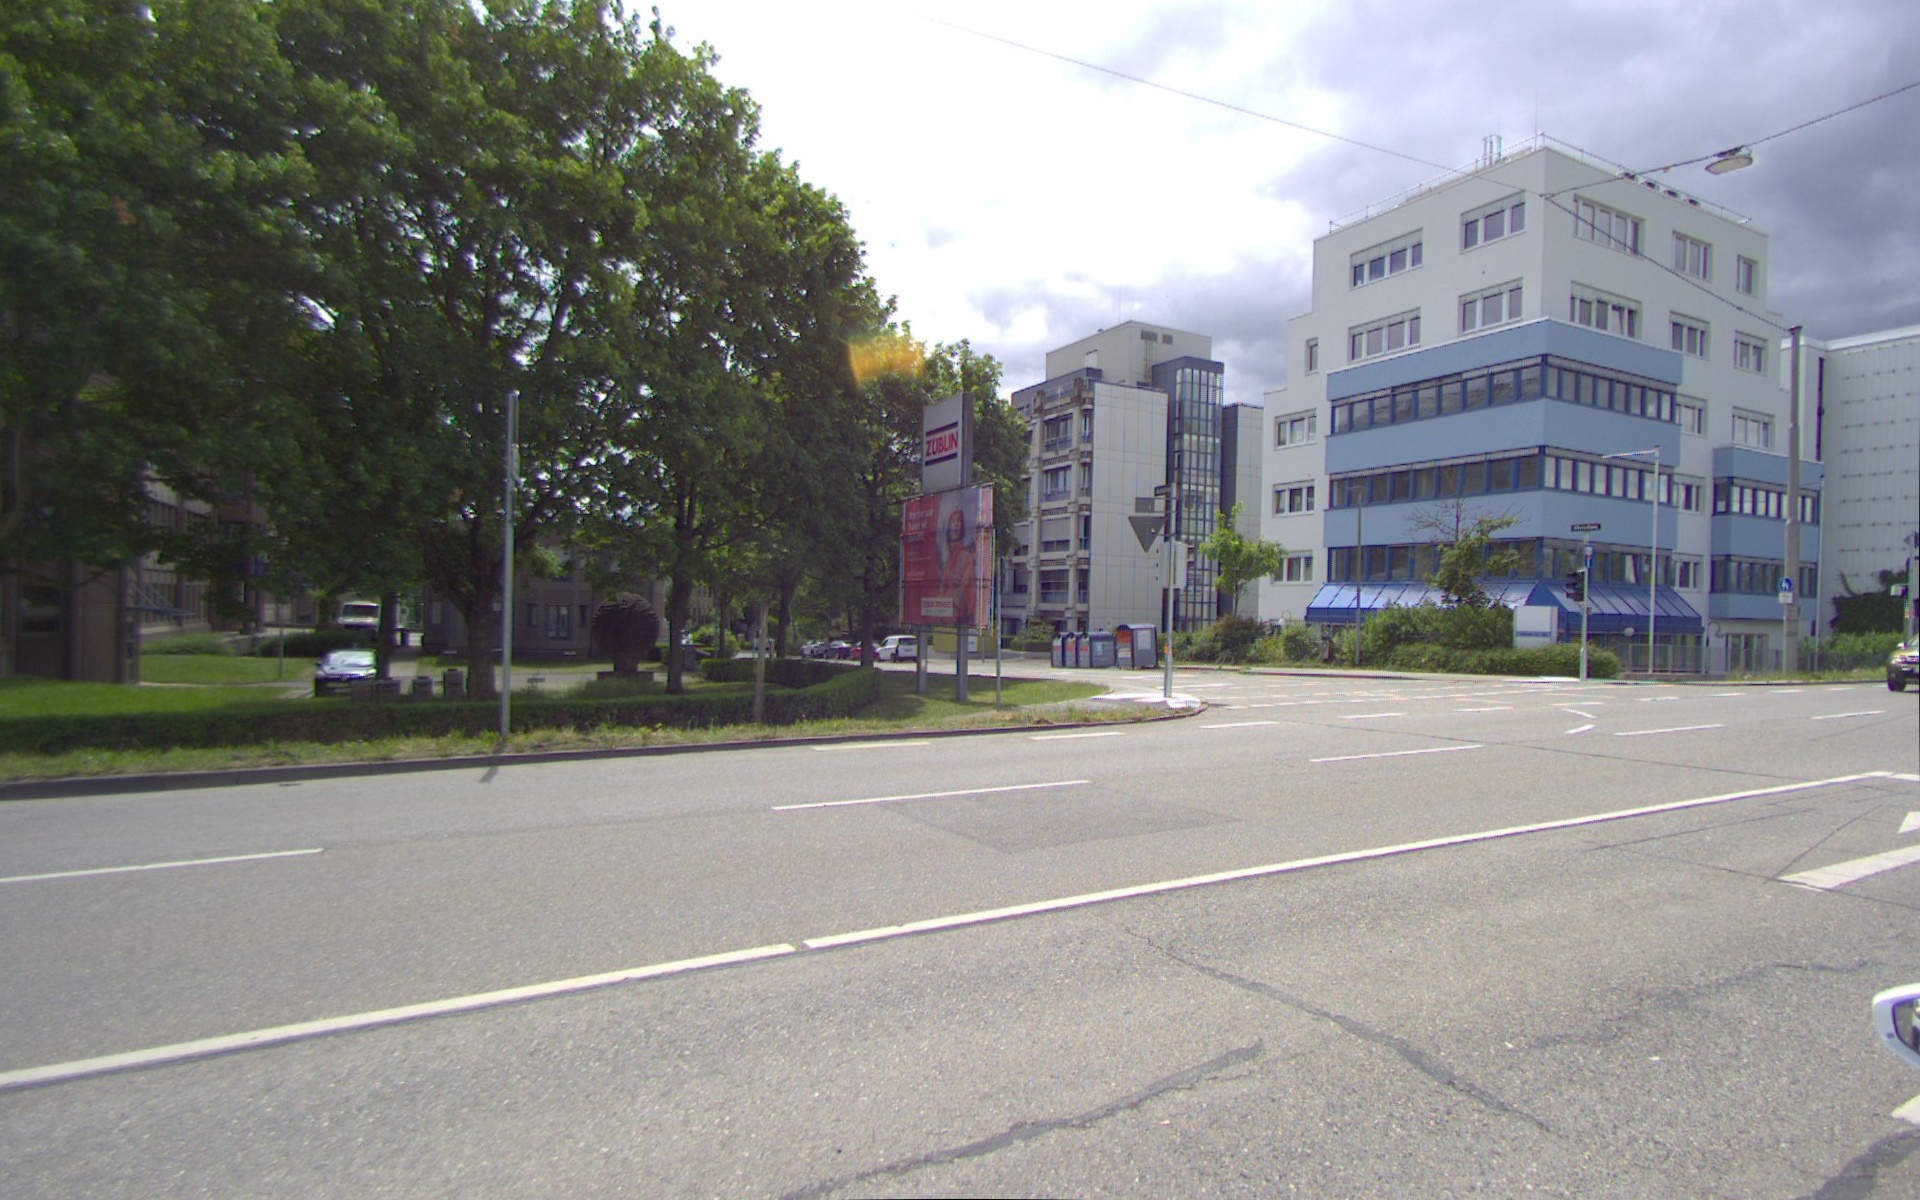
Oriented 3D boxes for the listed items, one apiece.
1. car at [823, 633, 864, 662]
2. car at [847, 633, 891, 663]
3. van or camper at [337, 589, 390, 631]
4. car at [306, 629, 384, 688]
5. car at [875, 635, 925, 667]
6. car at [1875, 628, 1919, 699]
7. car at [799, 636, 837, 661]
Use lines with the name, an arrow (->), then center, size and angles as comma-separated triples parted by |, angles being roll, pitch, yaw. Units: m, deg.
car -> -9.044, 3.633, 77.674 | 1.848, 2.040, 3.973 | 2, -1, -26
car -> -6.652, 3.456, 72.741 | 1.868, 2.040, 3.974 | 2, -1, -26
van or camper -> -32.697, 0.524, 55.000 | 2.333, 2.132, 5.159 | 2, -1, -32
car -> -19.366, 1.813, 31.772 | 1.764, 1.750, 3.973 | 2, -2, -27
car -> -4.097, 3.437, 67.813 | 1.974, 2.006, 3.974 | 2, -1, -26
car -> 24.109, 1.534, 24.355 | 3.953, 1.652, 1.743 | 2, -2, -30
car -> -11.767, 3.979, 83.037 | 1.875, 1.919, 3.973 | 2, -1, -26
